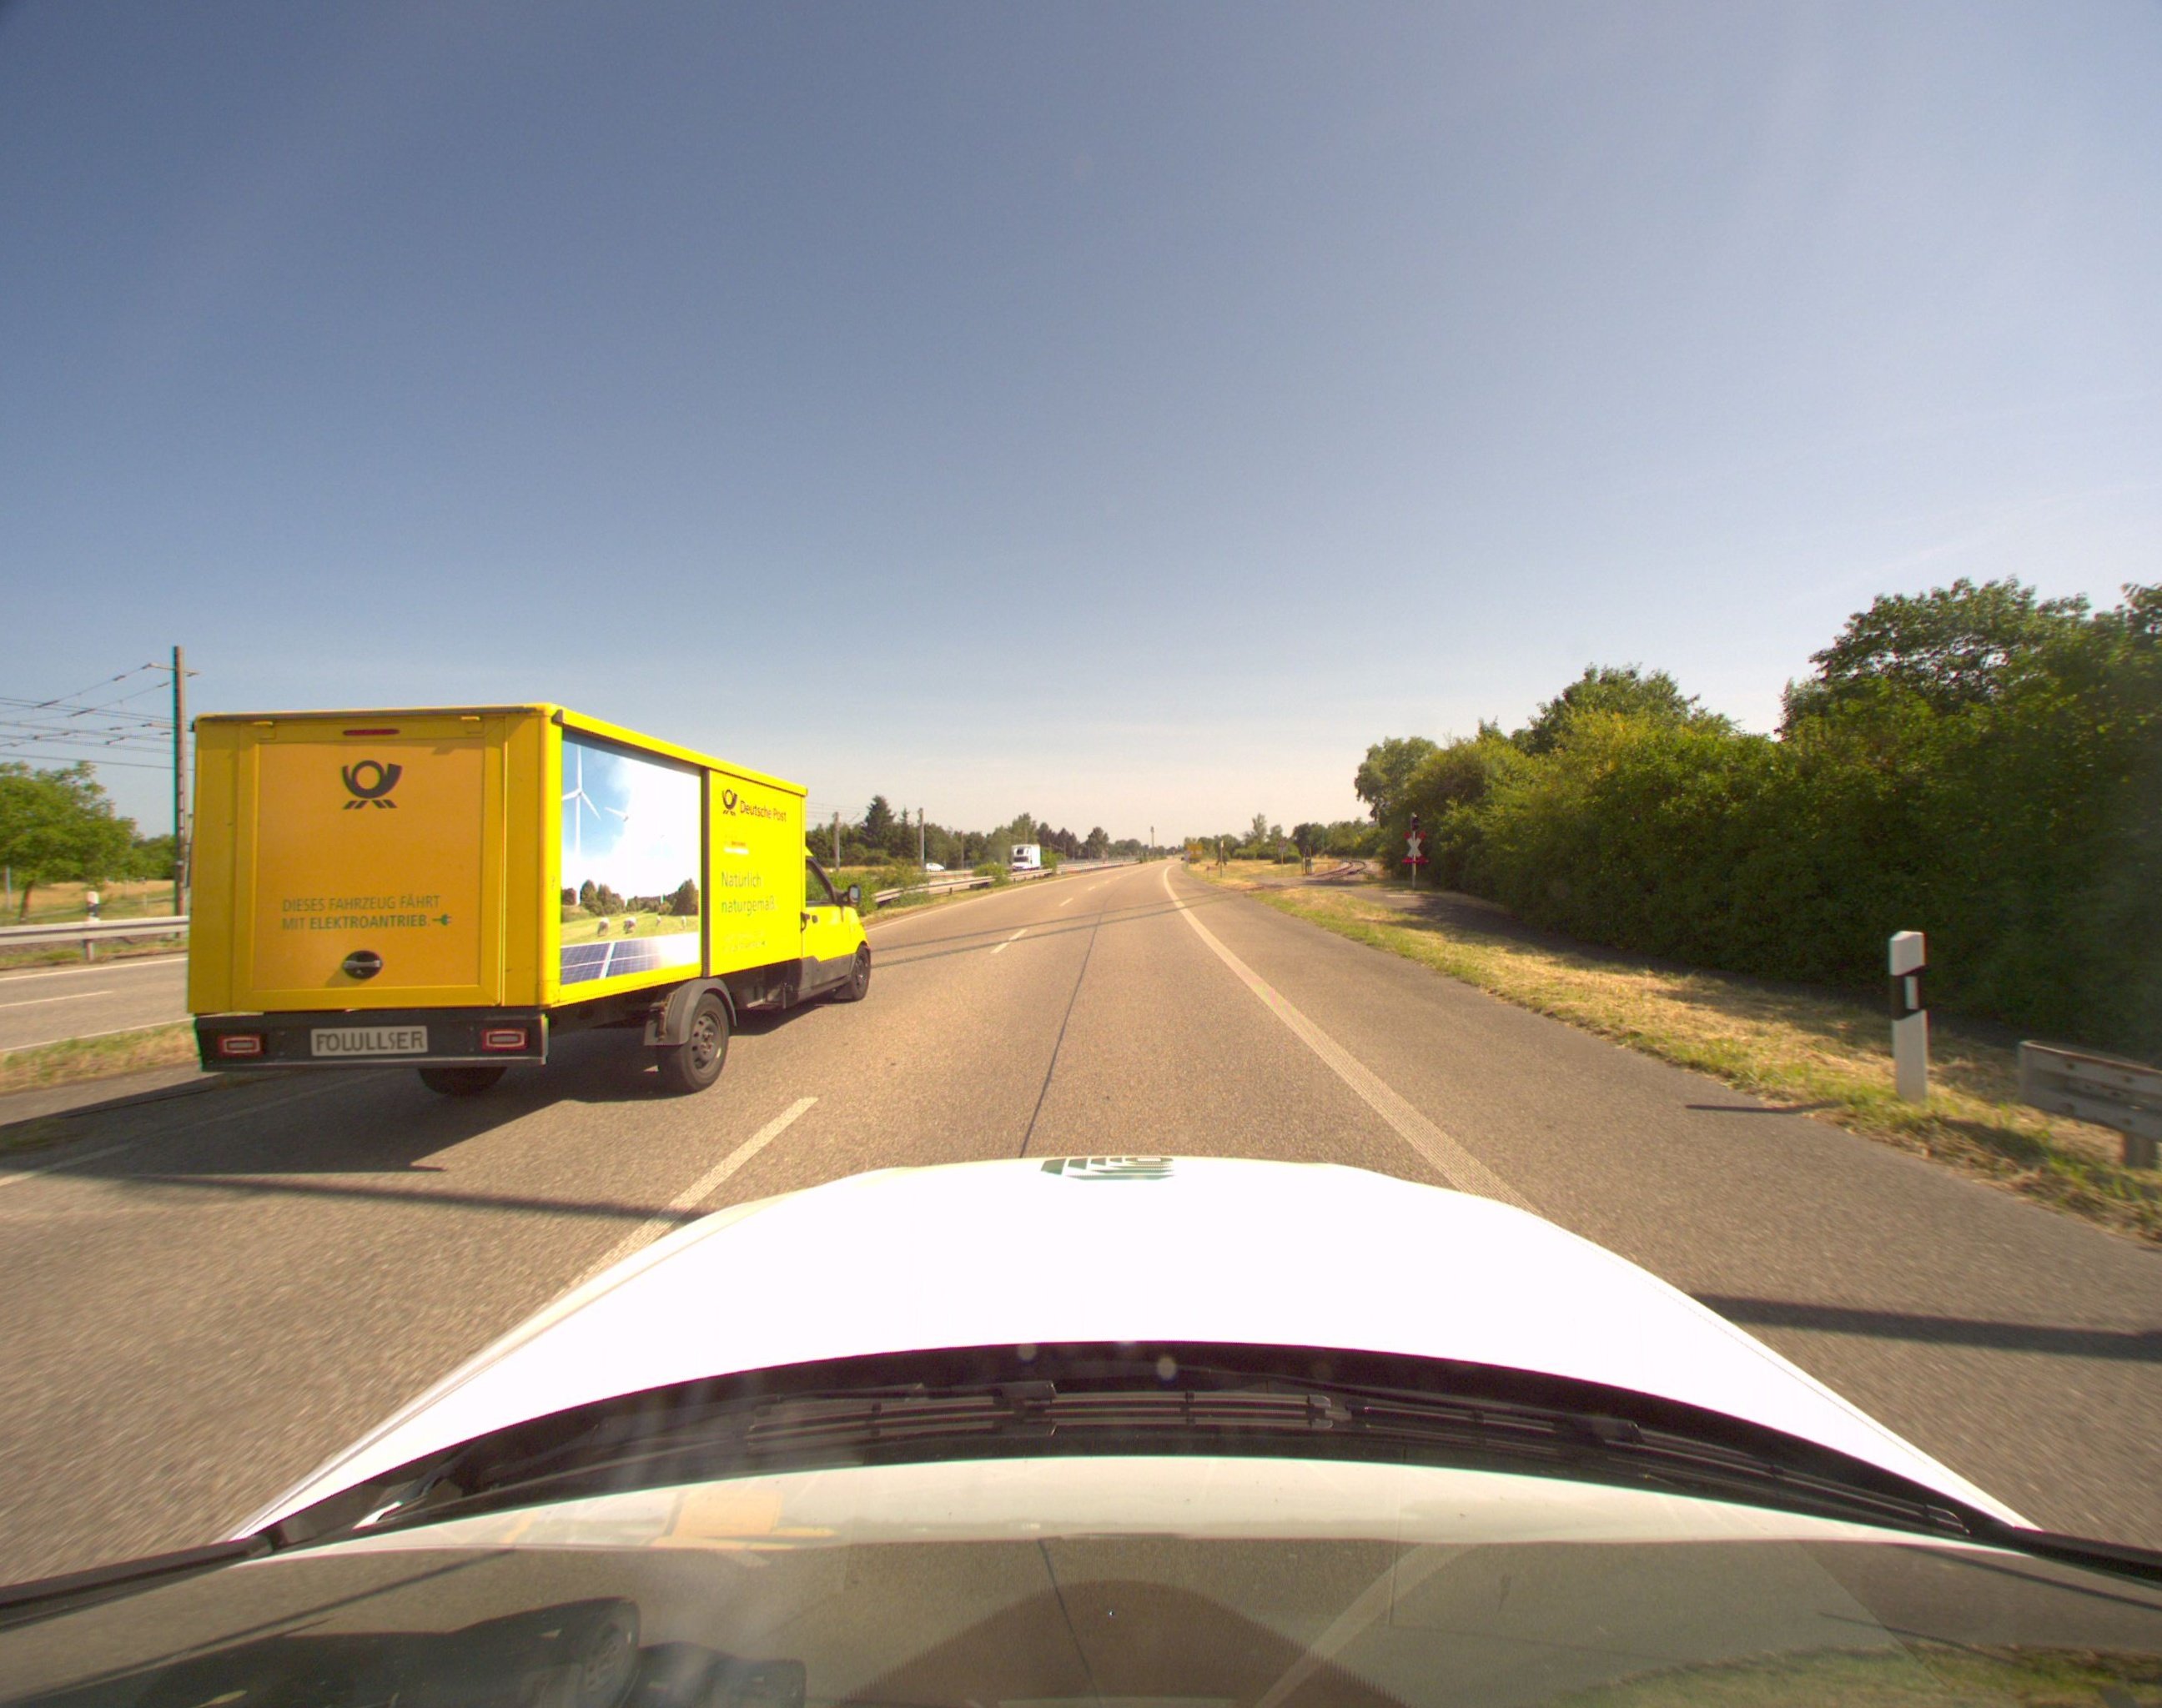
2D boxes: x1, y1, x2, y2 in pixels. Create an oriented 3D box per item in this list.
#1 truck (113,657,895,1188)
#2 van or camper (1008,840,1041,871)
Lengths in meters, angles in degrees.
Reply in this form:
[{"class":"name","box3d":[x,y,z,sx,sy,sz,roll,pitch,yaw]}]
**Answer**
[{"class":"truck","box3d":[-3.376,0.330,6.753,2.104,2.457,5.919,-1,0,2]},{"class":"van or camper","box3d":[-7.083,0.177,102.671,2.864,3.680,8.652,-1,0,4]}]
